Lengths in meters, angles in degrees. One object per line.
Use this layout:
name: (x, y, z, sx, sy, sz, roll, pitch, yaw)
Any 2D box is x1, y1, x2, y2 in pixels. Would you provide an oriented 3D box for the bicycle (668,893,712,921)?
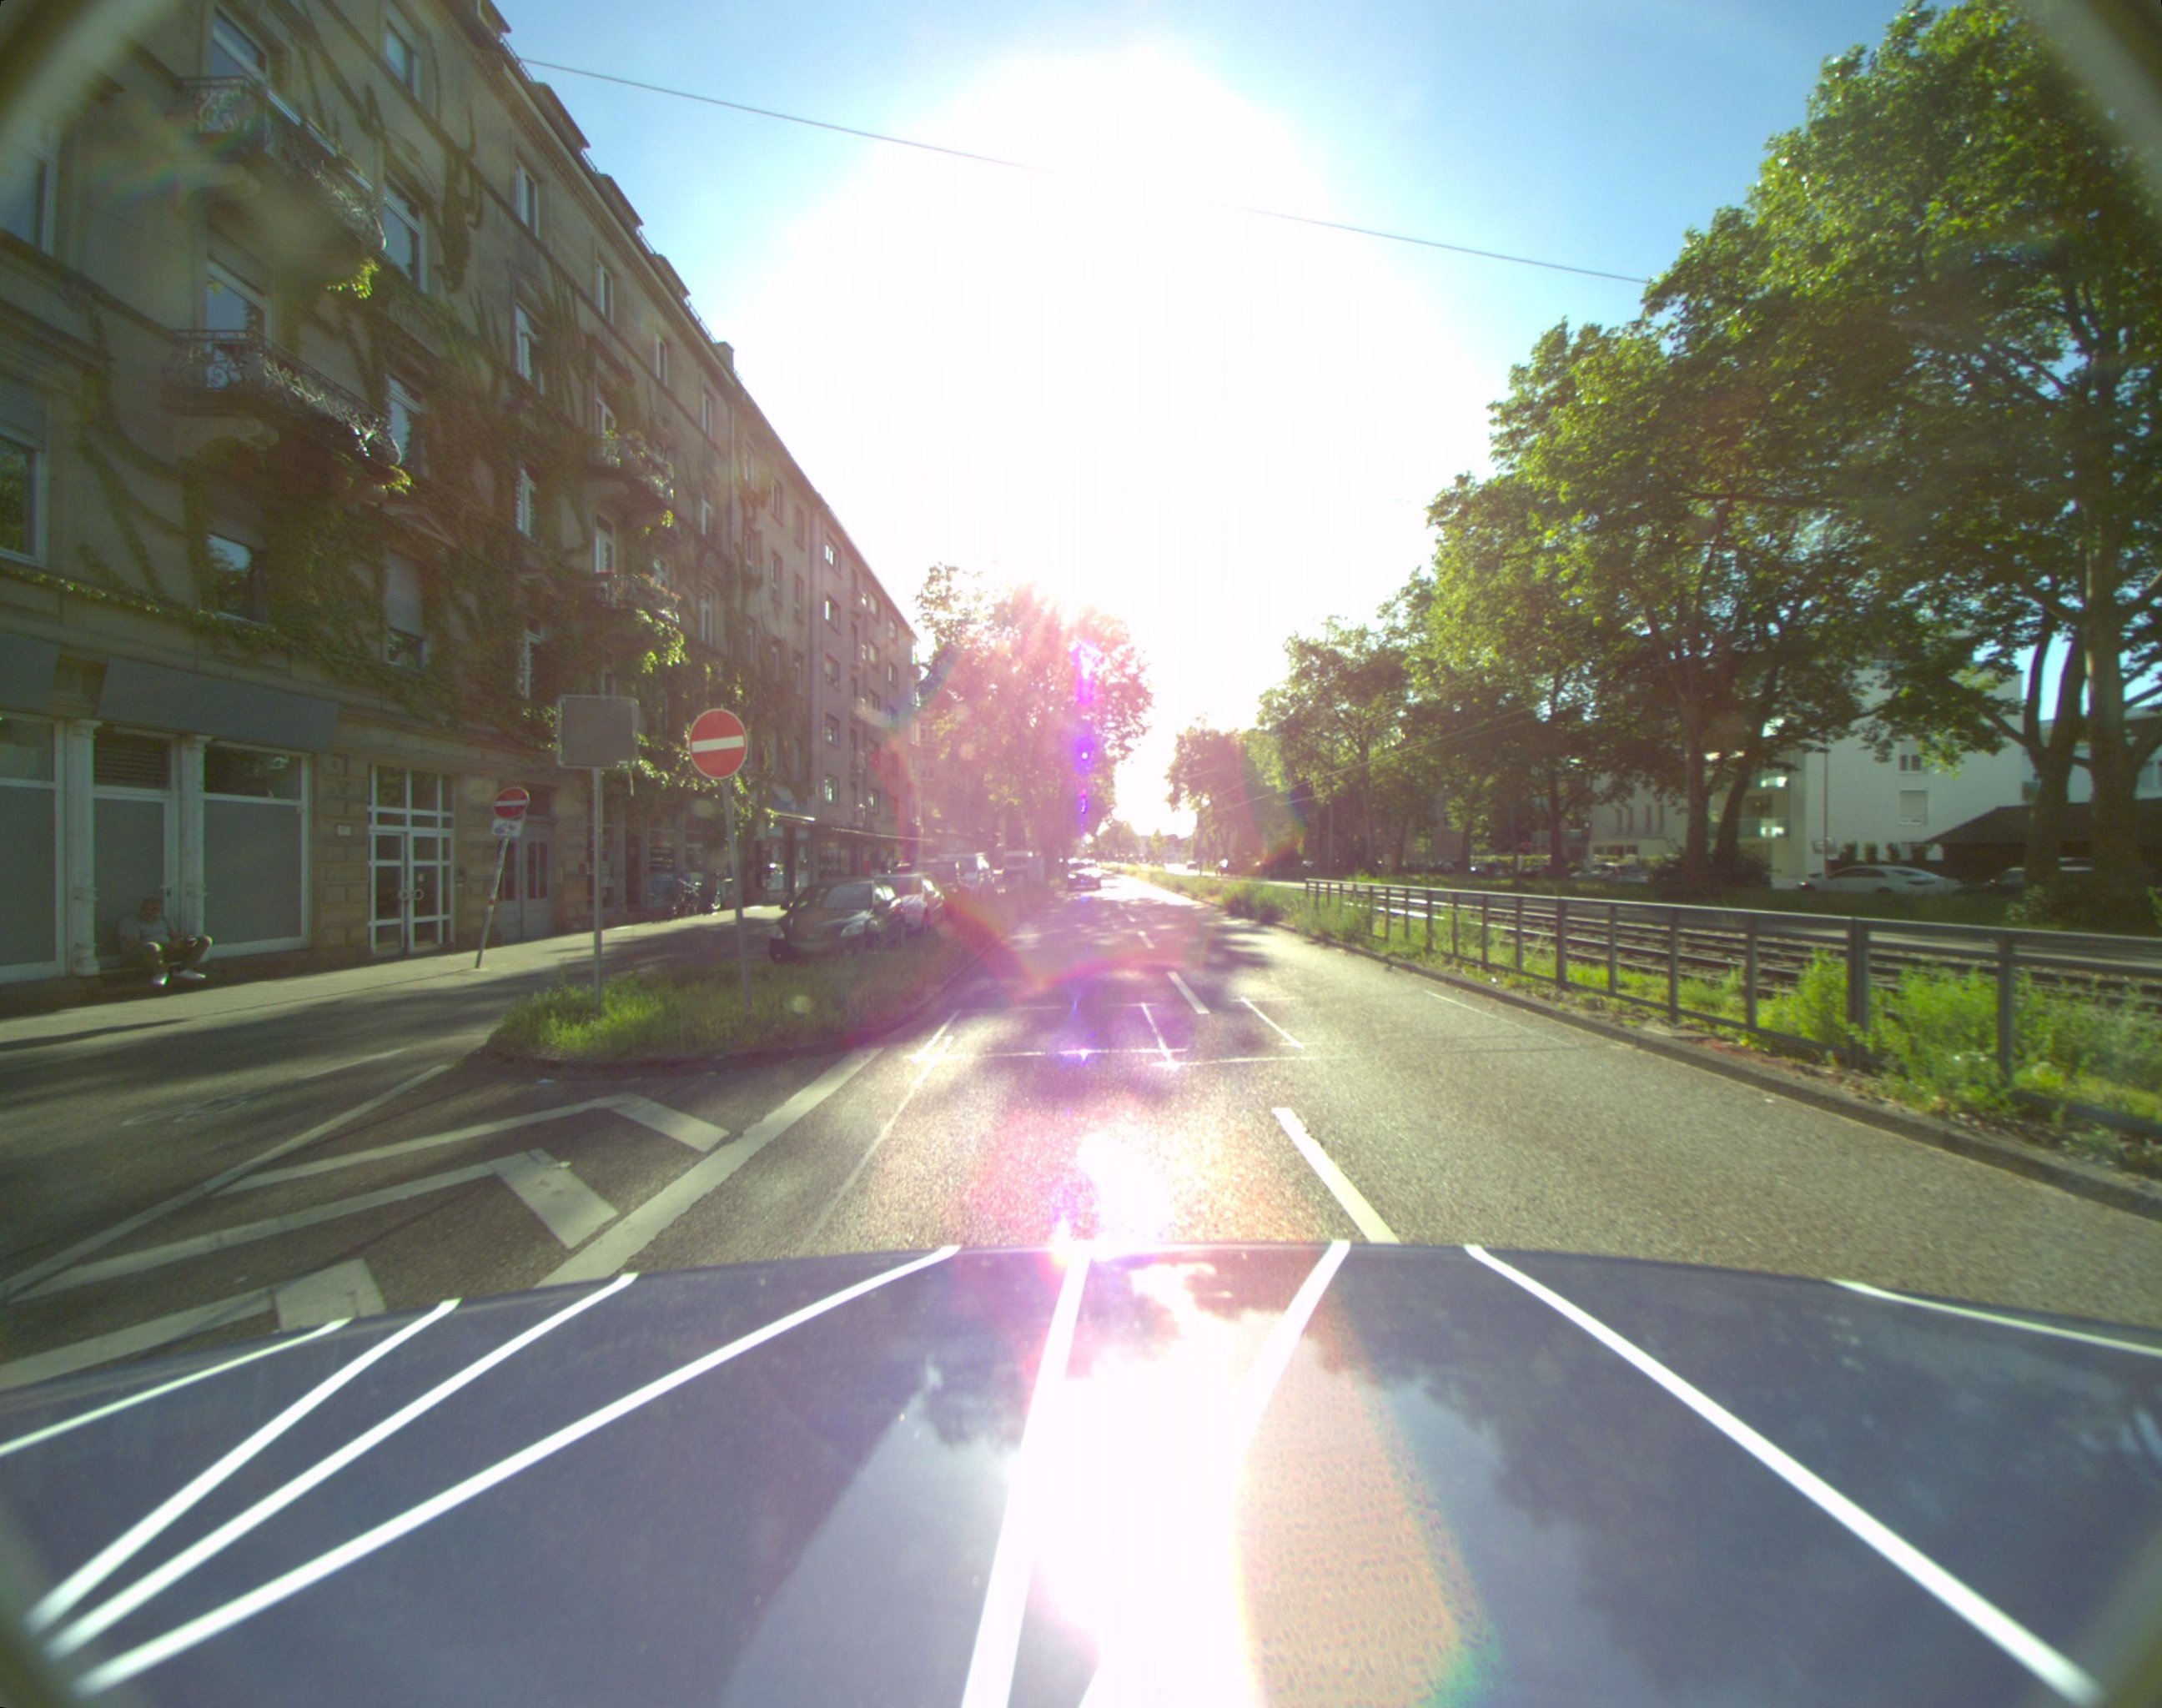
bicycle: (-11.323, 1.519, 22.052, 0.469, 0.701, 1.513, 0, 0, 0)

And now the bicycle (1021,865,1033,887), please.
bicycle: (-3.087, 1.247, 43.675, 0.466, 1.206, 1.751, 0, 0, 4)

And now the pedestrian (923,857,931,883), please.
pedestrian: (-10.857, 1.126, 53.485, 0.470, 1.822, 0.516, 0, 0, 0)

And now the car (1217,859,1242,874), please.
car: (16.885, 1.370, 86.702, 1.862, 1.637, 4.460, 0, 0, -1)

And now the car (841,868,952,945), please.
car: (-4.324, 1.175, 18.418, 1.743, 1.508, 3.999, -3, 0, -1)

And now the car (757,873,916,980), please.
car: (-4.278, 1.185, 13.968, 1.645, 1.508, 3.999, -3, 0, -1)

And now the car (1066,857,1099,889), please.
car: (0.114, 1.086, 44.721, 1.877, 1.788, 4.633, 0, 0, 1)

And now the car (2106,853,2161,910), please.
car: (28.107, 0.697, 18.052, 1.740, 1.432, 4.319, 0, 0, 1)

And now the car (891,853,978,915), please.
car: (-4.444, 0.855, 23.646, 1.869, 1.753, 4.000, 0, 0, 1)

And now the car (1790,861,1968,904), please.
car: (28.057, 0.941, 26.975, 1.644, 1.316, 4.461, 2, 0, 1)

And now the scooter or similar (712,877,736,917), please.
scooter or similar: (-11.121, 1.317, 23.719, 0.638, 1.166, 1.731, 0, 0, -24)

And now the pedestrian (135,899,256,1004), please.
pedestrian: (-11.572, 1.255, 9.954, 0.717, 1.253, 0.713, 2, 0, 0)

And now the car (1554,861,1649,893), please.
car: (27.847, 1.195, 40.846, 1.998, 1.582, 4.655, 0, 0, 1)

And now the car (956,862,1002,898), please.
car: (-4.481, 1.123, 33.869, 1.594, 1.470, 3.828, 0, 0, -1)

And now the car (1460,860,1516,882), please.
car: (28.188, 1.178, 52.781, 1.801, 1.464, 4.000, 0, 0, 1)

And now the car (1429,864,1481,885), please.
car: (28.318, 1.529, 57.698, 1.998, 1.477, 4.000, 0, 0, 1)

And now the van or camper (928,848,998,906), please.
van or camper: (-4.368, 0.798, 28.893, 1.889, 2.002, 5.094, 0, 0, 0)

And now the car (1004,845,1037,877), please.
car: (-4.921, 0.550, 62.349, 2.079, 2.420, 5.856, -1, 0, 1)

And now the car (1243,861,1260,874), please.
car: (27.252, 2.136, 121.508, 1.998, 2.002, 4.001, 0, 0, 5)

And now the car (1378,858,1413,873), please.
car: (32.721, 1.185, 79.096, 1.998, 1.477, 4.000, 0, 0, 1)

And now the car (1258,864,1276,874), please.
car: (27.463, 2.168, 112.480, 1.771, 1.477, 3.688, 0, 0, 1)

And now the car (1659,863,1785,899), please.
car: (28.271, 1.145, 33.703, 1.998, 1.444, 4.319, 0, 0, 1)
